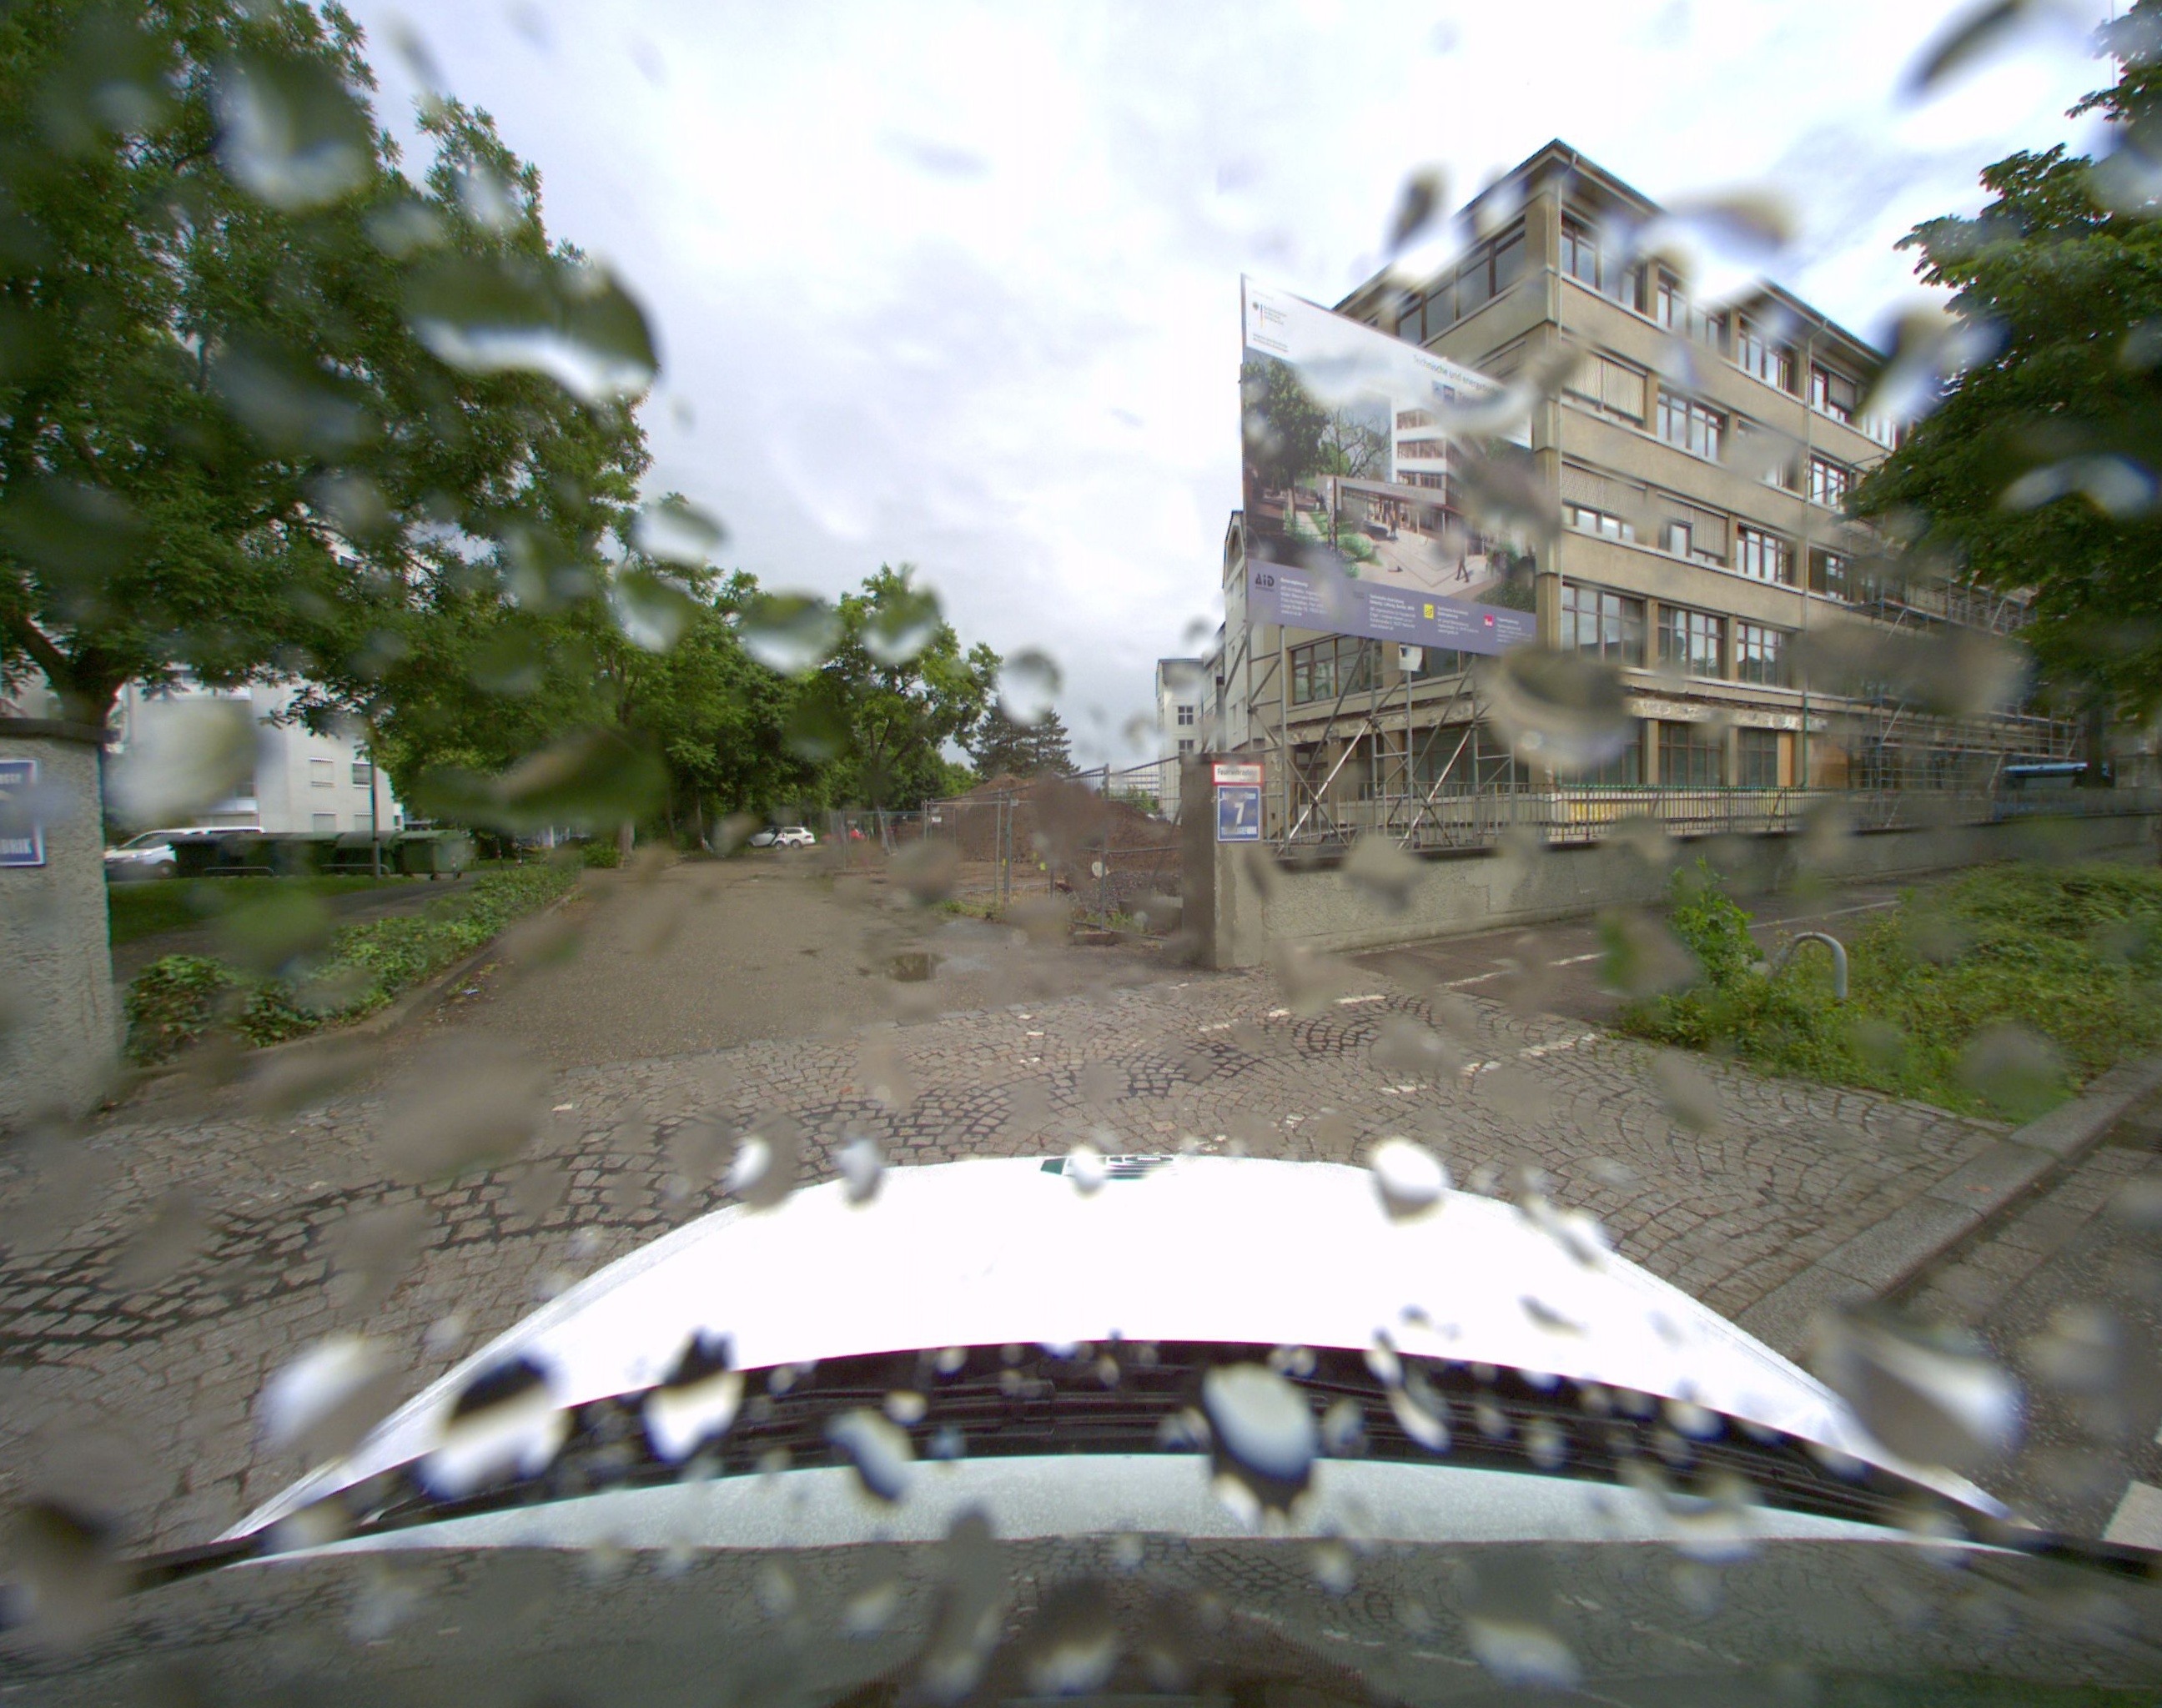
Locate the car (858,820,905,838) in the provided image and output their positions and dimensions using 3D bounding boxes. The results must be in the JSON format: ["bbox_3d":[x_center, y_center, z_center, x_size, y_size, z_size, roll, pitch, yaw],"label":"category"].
[{"bbox_3d":[-19.270,-2.388,78.781,4.102,1.650,1.843,0,3,-7],"label":"car"}]

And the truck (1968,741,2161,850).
[{"bbox_3d":[37.076,-2.078,30.152,9.934,3.526,3.215,-1,3,-28],"label":"truck"}]

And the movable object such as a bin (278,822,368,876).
[{"bbox_3d":[-21.668,-0.161,23.320,1.396,1.483,1.166,-1,2,-6],"label":"movable object such as a bin"}]

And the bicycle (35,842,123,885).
[{"bbox_3d":[-27.690,0.254,22.517,1.511,1.115,0.617,-2,3,-2],"label":"bicycle"}]

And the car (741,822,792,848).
[{"bbox_3d":[-19.746,-1.205,51.205,2.757,1.484,1.586,-2,3,-13],"label":"car"}]

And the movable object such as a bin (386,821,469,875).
[{"bbox_3d":[-18.766,-0.179,23.424,1.472,1.473,1.108,-1,1,9],"label":"movable object such as a bin"}]

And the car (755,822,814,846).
[{"bbox_3d":[-19.441,-1.332,53.561,3.436,1.468,1.733,-2,3,-14],"label":"car"}]

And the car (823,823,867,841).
[{"bbox_3d":[-19.889,-1.847,68.704,3.271,1.424,1.593,1,3,1],"label":"car"}]

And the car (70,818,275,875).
[{"bbox_3d":[-34.042,-0.320,30.788,2.085,1.925,4.891,-2,1,1],"label":"car"}]

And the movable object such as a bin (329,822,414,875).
[{"bbox_3d":[-20.247,-0.166,23.295,1.397,1.483,1.165,0,1,-8],"label":"movable object such as a bin"}]

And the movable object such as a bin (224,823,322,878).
[{"bbox_3d":[-23.138,-0.123,23.367,1.490,1.482,1.166,-2,3,-6],"label":"movable object such as a bin"}]

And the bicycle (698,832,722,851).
[{"bbox_3d":[-17.931,-0.593,39.395,0.474,0.860,1.456,0,3,0],"label":"bicycle"}]

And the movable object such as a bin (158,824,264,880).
[{"bbox_3d":[-24.705,-0.069,23.173,1.587,1.482,1.166,-2,3,-6],"label":"movable object such as a bin"}]

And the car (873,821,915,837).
[{"bbox_3d":[-19.356,-2.592,84.490,3.979,1.559,1.762,0,3,-4],"label":"car"}]

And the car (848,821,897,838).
[{"bbox_3d":[-19.340,-2.270,75.642,3.976,1.495,1.993,0,3,-2],"label":"car"}]
